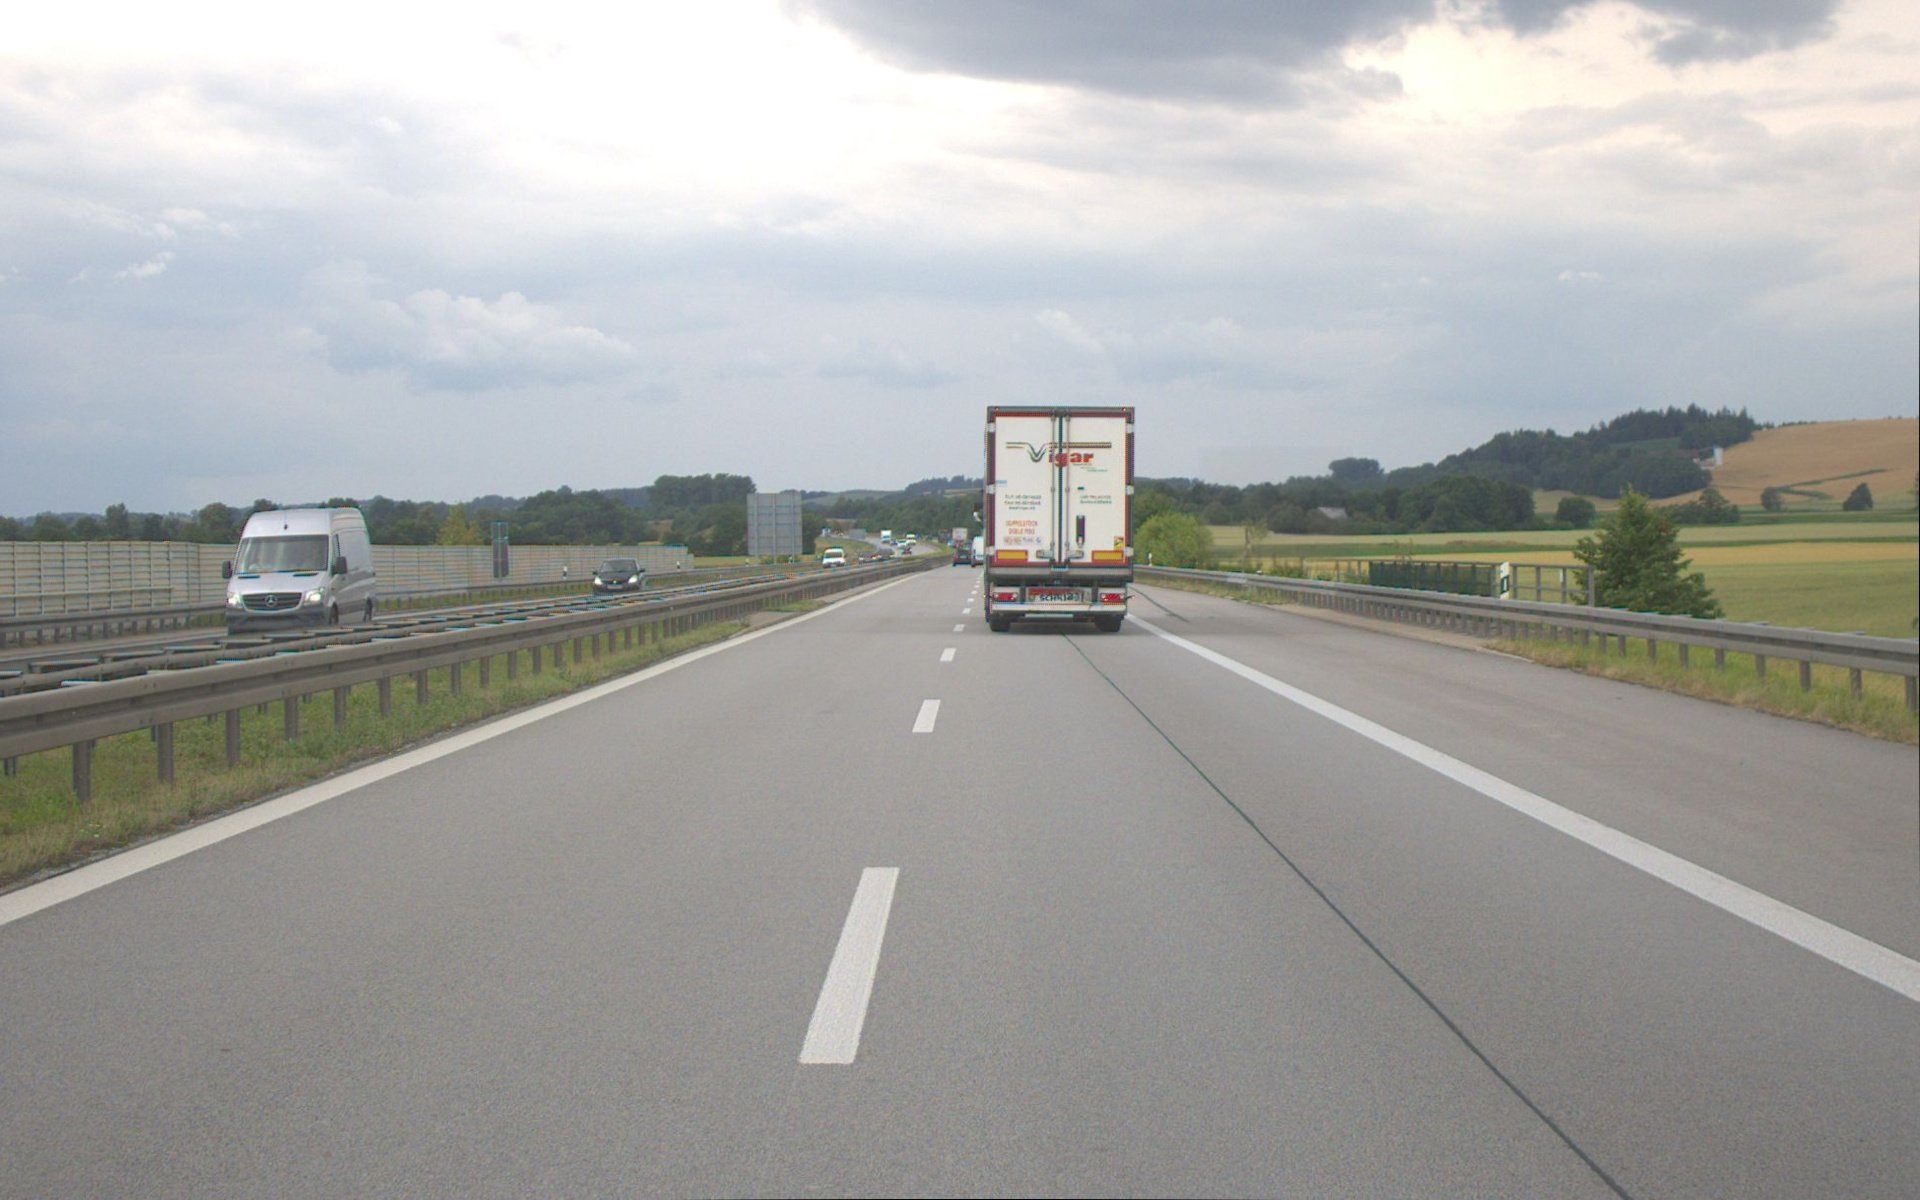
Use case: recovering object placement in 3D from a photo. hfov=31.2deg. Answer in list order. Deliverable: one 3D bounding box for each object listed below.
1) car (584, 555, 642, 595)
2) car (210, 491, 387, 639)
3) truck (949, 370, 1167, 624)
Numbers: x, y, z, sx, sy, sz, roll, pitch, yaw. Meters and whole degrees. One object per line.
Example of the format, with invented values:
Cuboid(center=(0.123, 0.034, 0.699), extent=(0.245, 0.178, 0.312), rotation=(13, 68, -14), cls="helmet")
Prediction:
Cuboid(center=(-12.613, -0.918, 125.124), extent=(1.670, 1.381, 4.000), rotation=(-2, 1, 0), cls="car")
Cuboid(center=(-12.718, -0.691, 66.521), extent=(2.070, 2.594, 6.289), rotation=(-4, 1, 0), cls="car")
Cuboid(center=(1.688, -1.958, 68.173), extent=(3.672, 4.397, 16.342), rotation=(-1, 1, -1), cls="truck")
